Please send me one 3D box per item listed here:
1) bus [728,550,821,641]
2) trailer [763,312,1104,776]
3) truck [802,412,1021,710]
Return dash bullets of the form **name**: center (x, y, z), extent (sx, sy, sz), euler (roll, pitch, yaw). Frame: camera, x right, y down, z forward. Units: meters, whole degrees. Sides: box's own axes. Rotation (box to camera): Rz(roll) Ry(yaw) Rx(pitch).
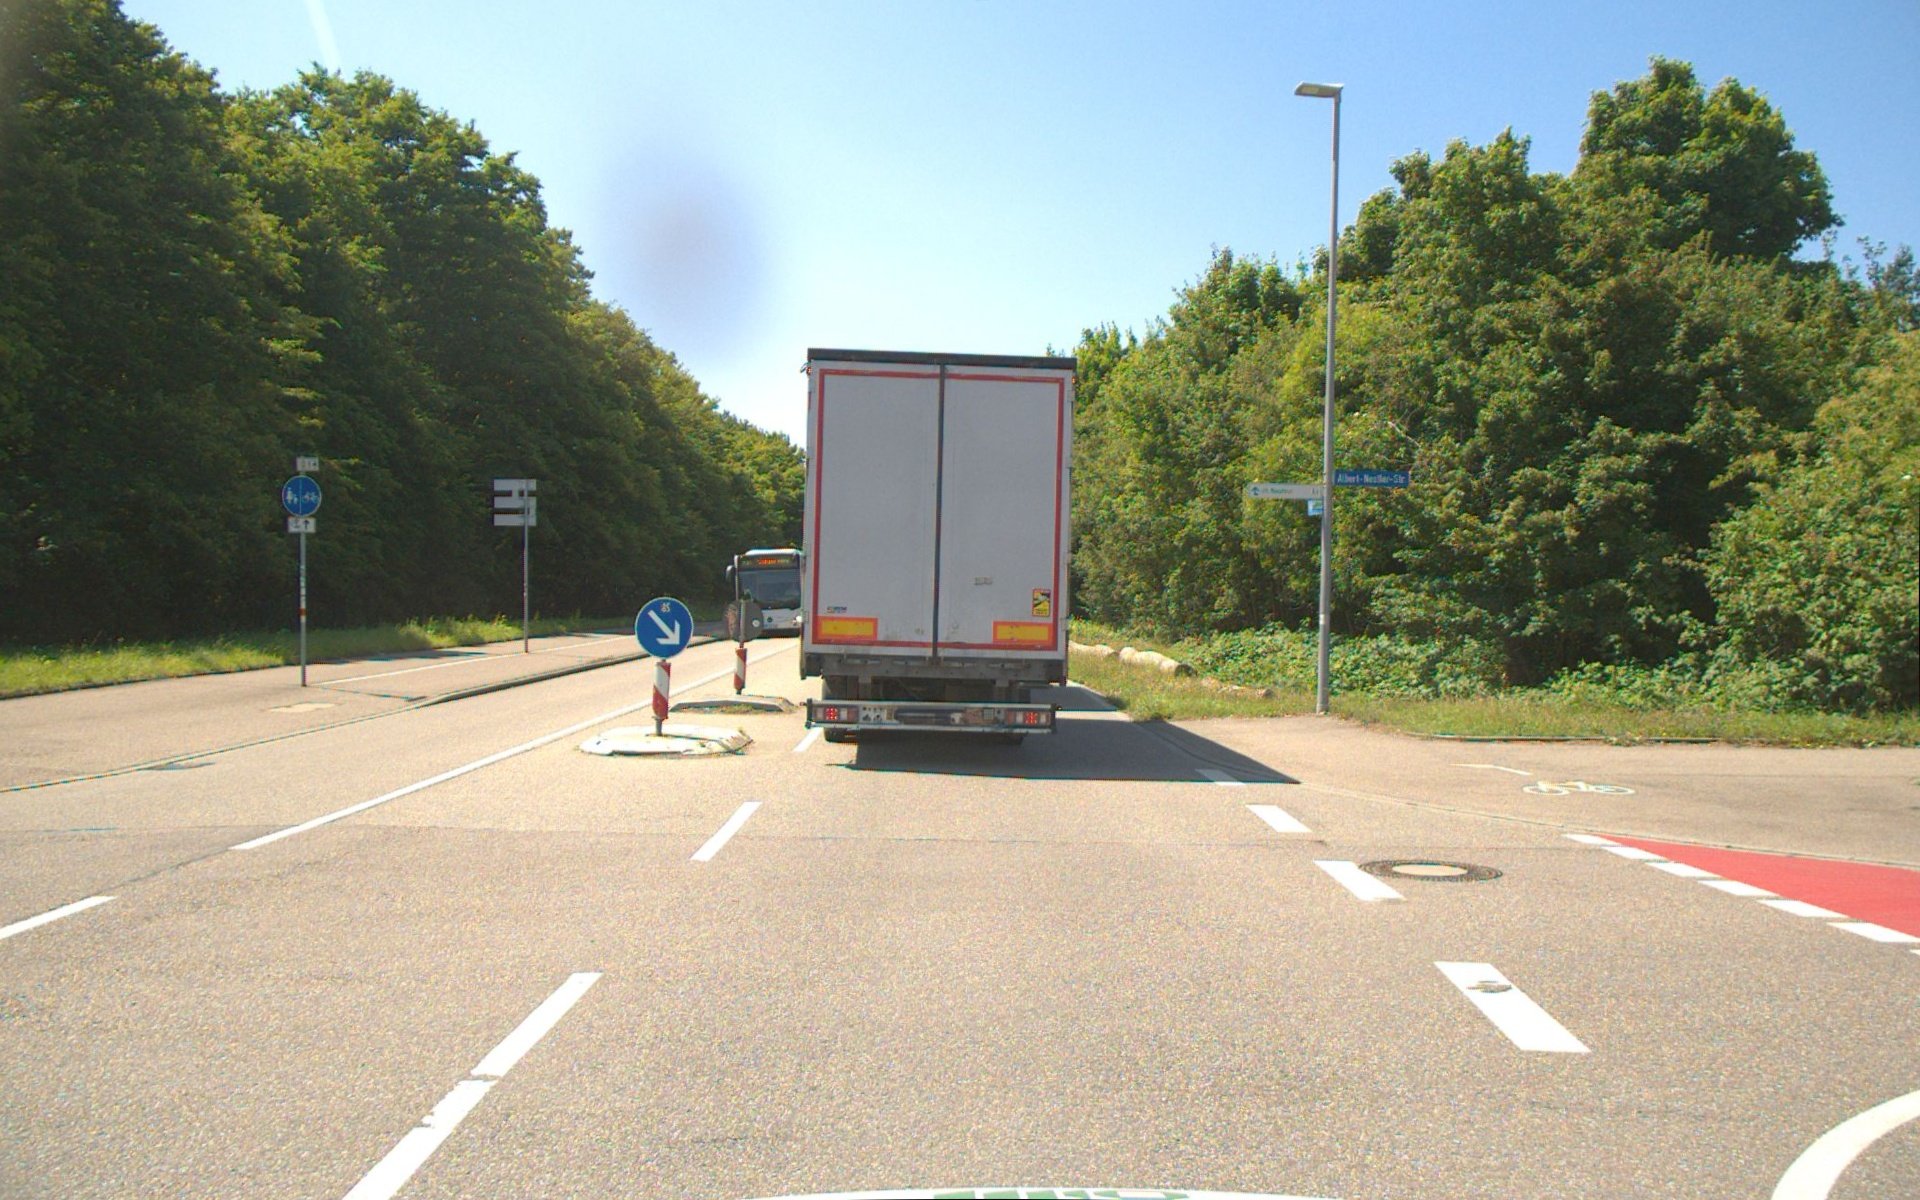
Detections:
- **bus**: center (-6.969, -0.162, 63.530), extent (2.694, 3.098, 11.931), euler (-2, 0, -3)
- **trailer**: center (-0.502, -0.509, 19.887), extent (3.016, 4.141, 9.802), euler (1, 0, -3)
- **truck**: center (-0.930, -0.558, 27.382), extent (3.016, 4.141, 7.953), euler (1, 0, -4)
